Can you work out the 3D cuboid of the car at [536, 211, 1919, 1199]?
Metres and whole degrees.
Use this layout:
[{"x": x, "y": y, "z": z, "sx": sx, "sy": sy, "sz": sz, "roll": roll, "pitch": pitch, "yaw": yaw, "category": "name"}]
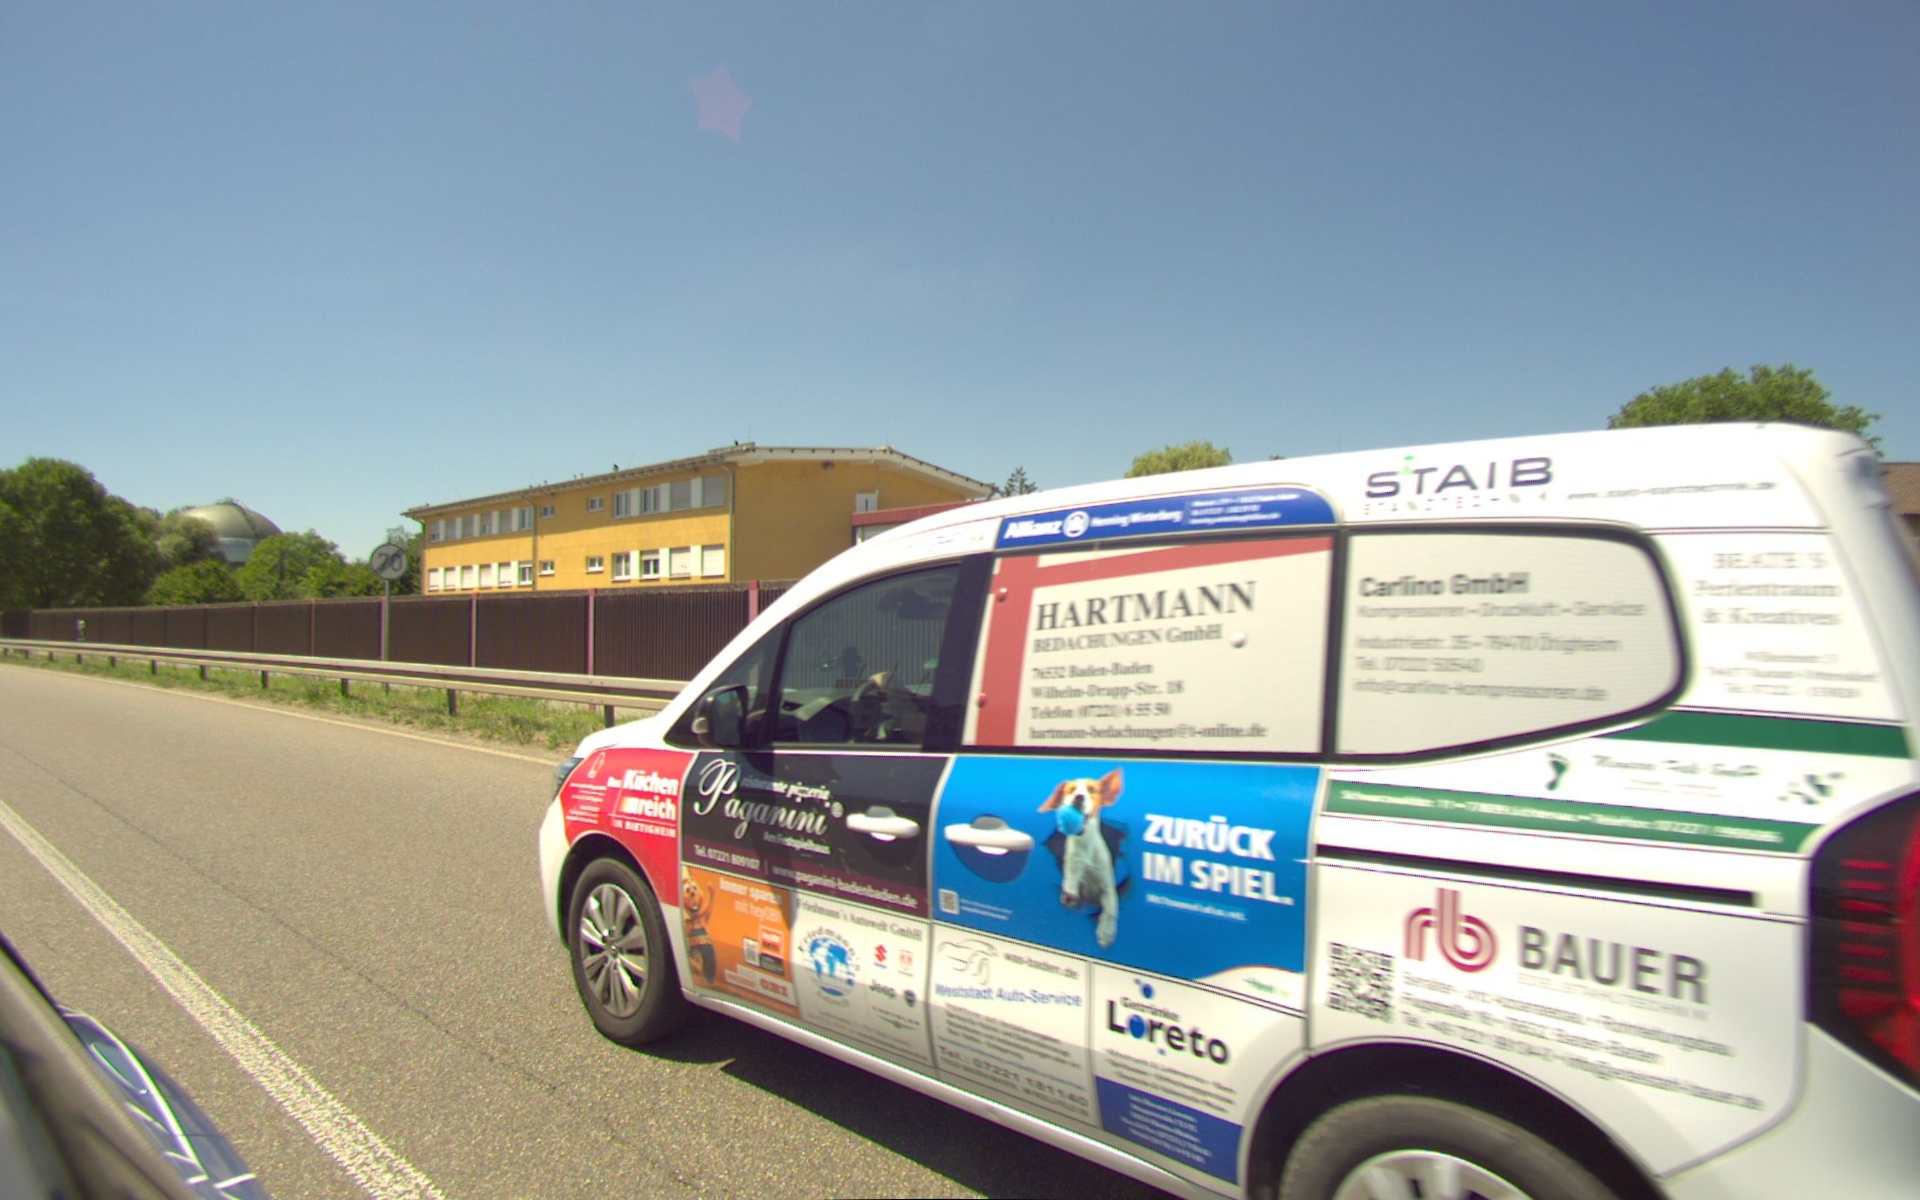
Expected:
[{"x": 0.883, "y": 0.445, "z": 2.638, "sx": 4.776, "sy": 1.753, "sz": 1.867, "roll": -1, "pitch": -1, "yaw": 43, "category": "car"}]
